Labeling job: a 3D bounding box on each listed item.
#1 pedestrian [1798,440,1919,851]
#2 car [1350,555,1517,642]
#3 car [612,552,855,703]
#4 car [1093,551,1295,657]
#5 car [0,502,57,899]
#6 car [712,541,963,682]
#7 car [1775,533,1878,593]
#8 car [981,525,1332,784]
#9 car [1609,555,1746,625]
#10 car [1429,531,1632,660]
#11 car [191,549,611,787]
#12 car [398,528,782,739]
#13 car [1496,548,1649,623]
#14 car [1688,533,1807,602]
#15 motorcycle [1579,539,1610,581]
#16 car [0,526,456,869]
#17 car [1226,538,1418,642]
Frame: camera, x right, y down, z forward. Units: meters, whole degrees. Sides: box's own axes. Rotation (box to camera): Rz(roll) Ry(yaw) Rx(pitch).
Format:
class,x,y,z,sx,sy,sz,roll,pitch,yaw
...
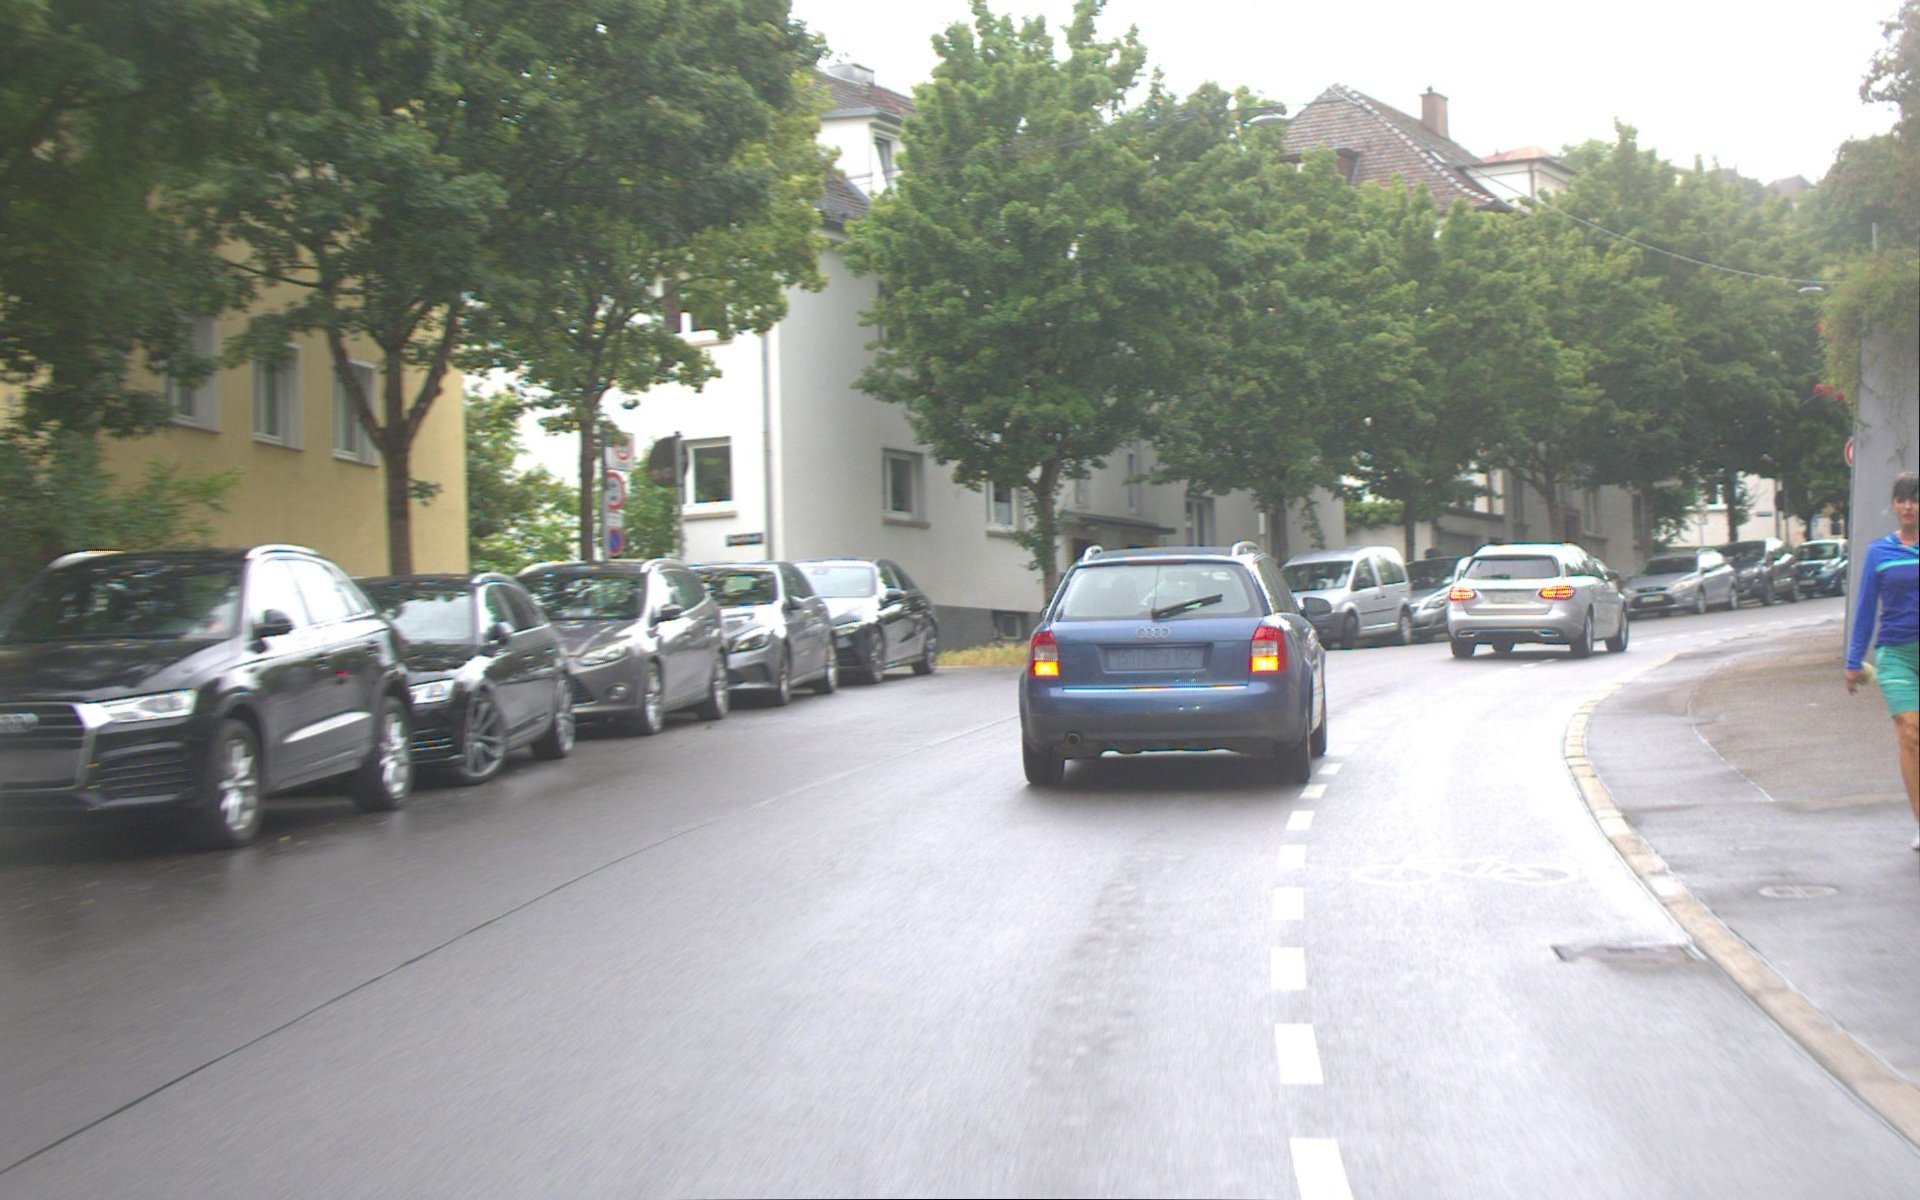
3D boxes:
class,x,y,z,sx,sy,sz,roll,pitch,yaw
pedestrian,4.234,0.185,15.268,0.775,1.752,1.011,-3,0,5
car,9.039,-0.027,65.335,1.807,1.481,4.230,-5,-2,26
car,-2.229,0.233,34.904,1.614,1.392,4.322,-2,1,7
car,3.809,0.084,55.202,1.786,1.509,4.340,-5,-2,23
car,-5.363,0.484,13.850,1.854,1.770,4.481,-1,1,6
car,-1.360,0.107,40.111,1.776,1.535,4.514,-1,0,13
car,23.107,-1.003,91.636,1.715,1.457,3.875,-1,2,29
car,1.348,0.285,21.809,1.854,1.409,4.360,-2,0,7
car,16.634,-0.219,79.548,1.807,1.547,4.792,-1,-1,28
car,7.551,-0.109,45.199,1.952,1.556,4.259,1,2,19
car,-3.829,0.404,24.410,1.854,1.493,4.740,-1,1,4
car,-3.111,0.240,29.950,1.855,1.684,4.552,-1,1,14
car,12.552,-0.278,70.252,1.807,1.448,4.590,-1,-1,27
car,19.530,-0.814,85.123,1.807,1.621,4.133,-2,0,28
motorcycle,17.107,-1.089,92.669,0.411,1.095,1.618,-3,0,23
car,-4.409,0.464,19.217,1.854,1.662,4.586,-1,1,9
car,6.412,-0.161,60.469,1.787,1.640,4.339,-5,-3,27
